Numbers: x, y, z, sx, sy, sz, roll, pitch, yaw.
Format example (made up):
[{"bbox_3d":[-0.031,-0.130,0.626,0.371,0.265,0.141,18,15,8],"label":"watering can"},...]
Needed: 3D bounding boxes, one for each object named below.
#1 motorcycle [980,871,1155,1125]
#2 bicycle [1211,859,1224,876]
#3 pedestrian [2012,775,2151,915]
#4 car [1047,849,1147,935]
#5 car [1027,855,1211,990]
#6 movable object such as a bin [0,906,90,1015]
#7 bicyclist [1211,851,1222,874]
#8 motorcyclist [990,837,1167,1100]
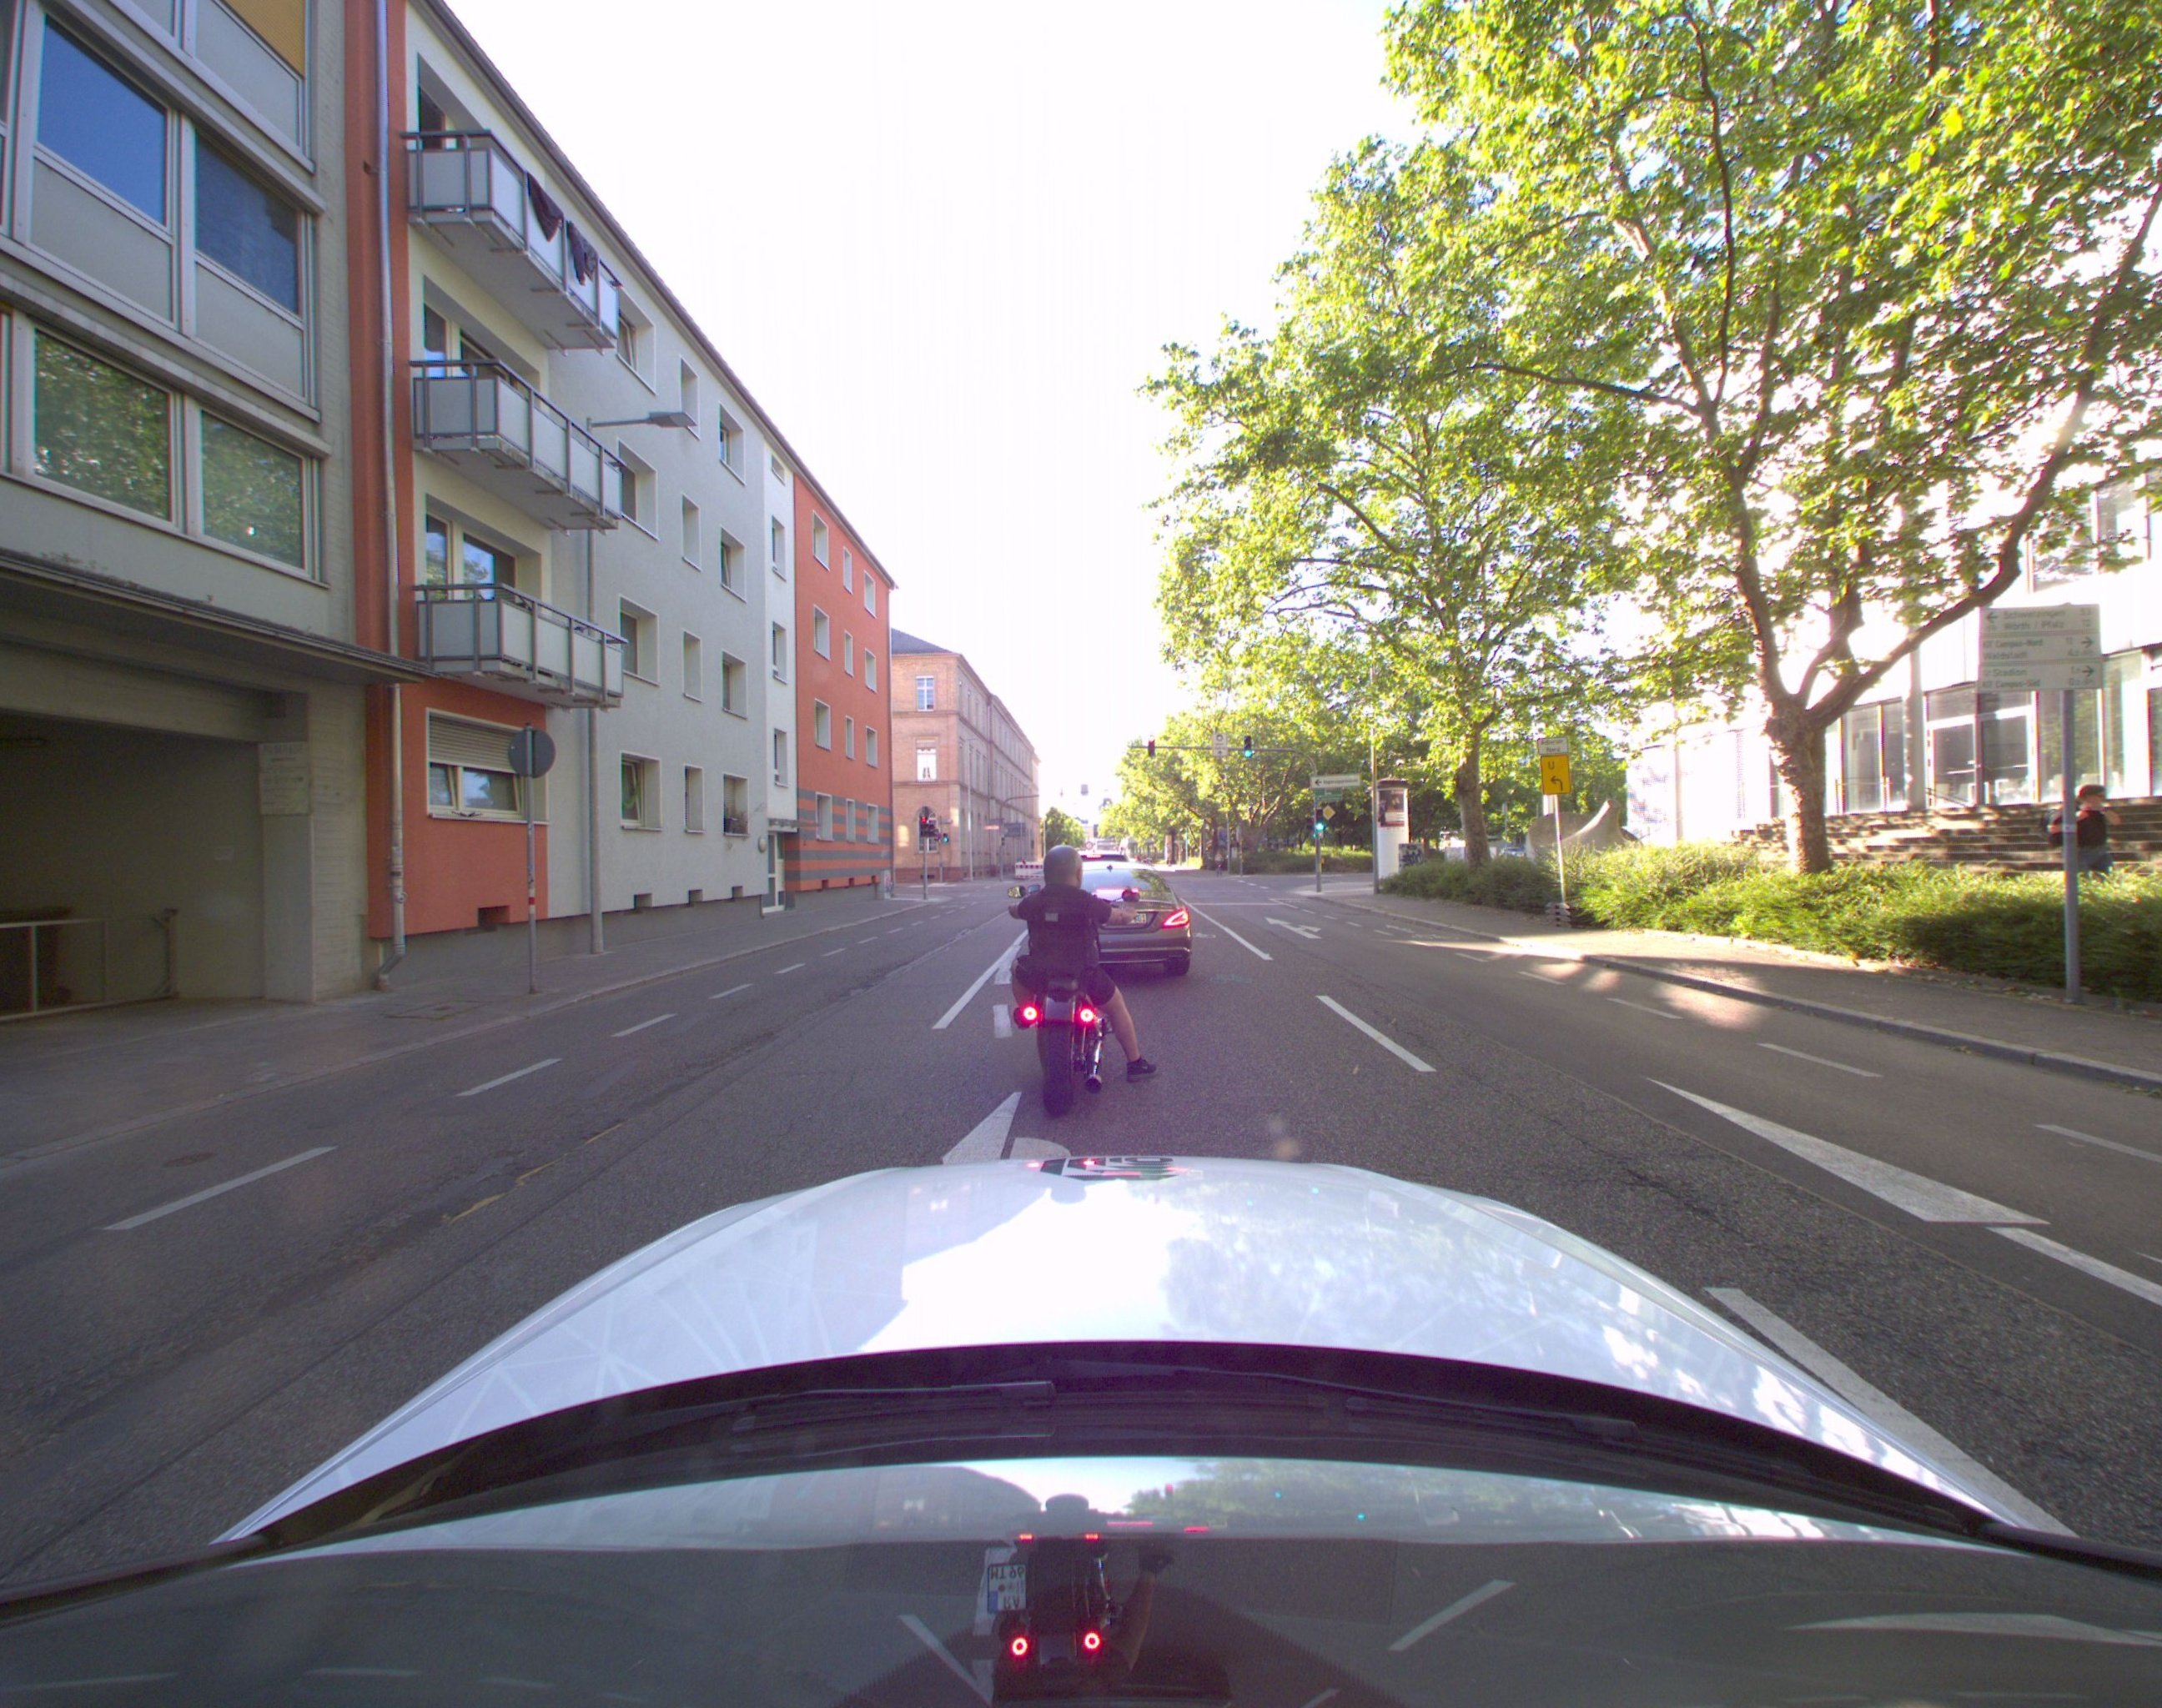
[{"bbox_3d":[-0.039,0.818,5.647,0.958,1.357,2.321,0,-1,2],"label":"motorcycle"},{"bbox_3d":[9.345,0.905,55.925,0.712,1.172,2.179,0,-1,6],"label":"bicycle"},{"bbox_3d":[13.395,-0.117,10.935,0.781,1.781,0.862,-1,0,0],"label":"pedestrian"},{"bbox_3d":[0.270,0.701,16.882,1.808,1.536,3.847,-1,0,-1],"label":"car"},{"bbox_3d":[0.296,0.764,11.230,1.900,1.441,4.279,-1,0,-6],"label":"car"},{"bbox_3d":[-11.323,1.106,8.633,0.736,1.074,0.716,0,-1,2],"label":"movable object such as a bin"},{"bbox_3d":[9.347,0.574,56.052,0.712,1.582,0.938,-1,-1,7],"label":"bicyclist"},{"bbox_3d":[-0.004,0.693,5.377,1.057,1.582,0.908,0,-1,1],"label":"motorcyclist"}]
